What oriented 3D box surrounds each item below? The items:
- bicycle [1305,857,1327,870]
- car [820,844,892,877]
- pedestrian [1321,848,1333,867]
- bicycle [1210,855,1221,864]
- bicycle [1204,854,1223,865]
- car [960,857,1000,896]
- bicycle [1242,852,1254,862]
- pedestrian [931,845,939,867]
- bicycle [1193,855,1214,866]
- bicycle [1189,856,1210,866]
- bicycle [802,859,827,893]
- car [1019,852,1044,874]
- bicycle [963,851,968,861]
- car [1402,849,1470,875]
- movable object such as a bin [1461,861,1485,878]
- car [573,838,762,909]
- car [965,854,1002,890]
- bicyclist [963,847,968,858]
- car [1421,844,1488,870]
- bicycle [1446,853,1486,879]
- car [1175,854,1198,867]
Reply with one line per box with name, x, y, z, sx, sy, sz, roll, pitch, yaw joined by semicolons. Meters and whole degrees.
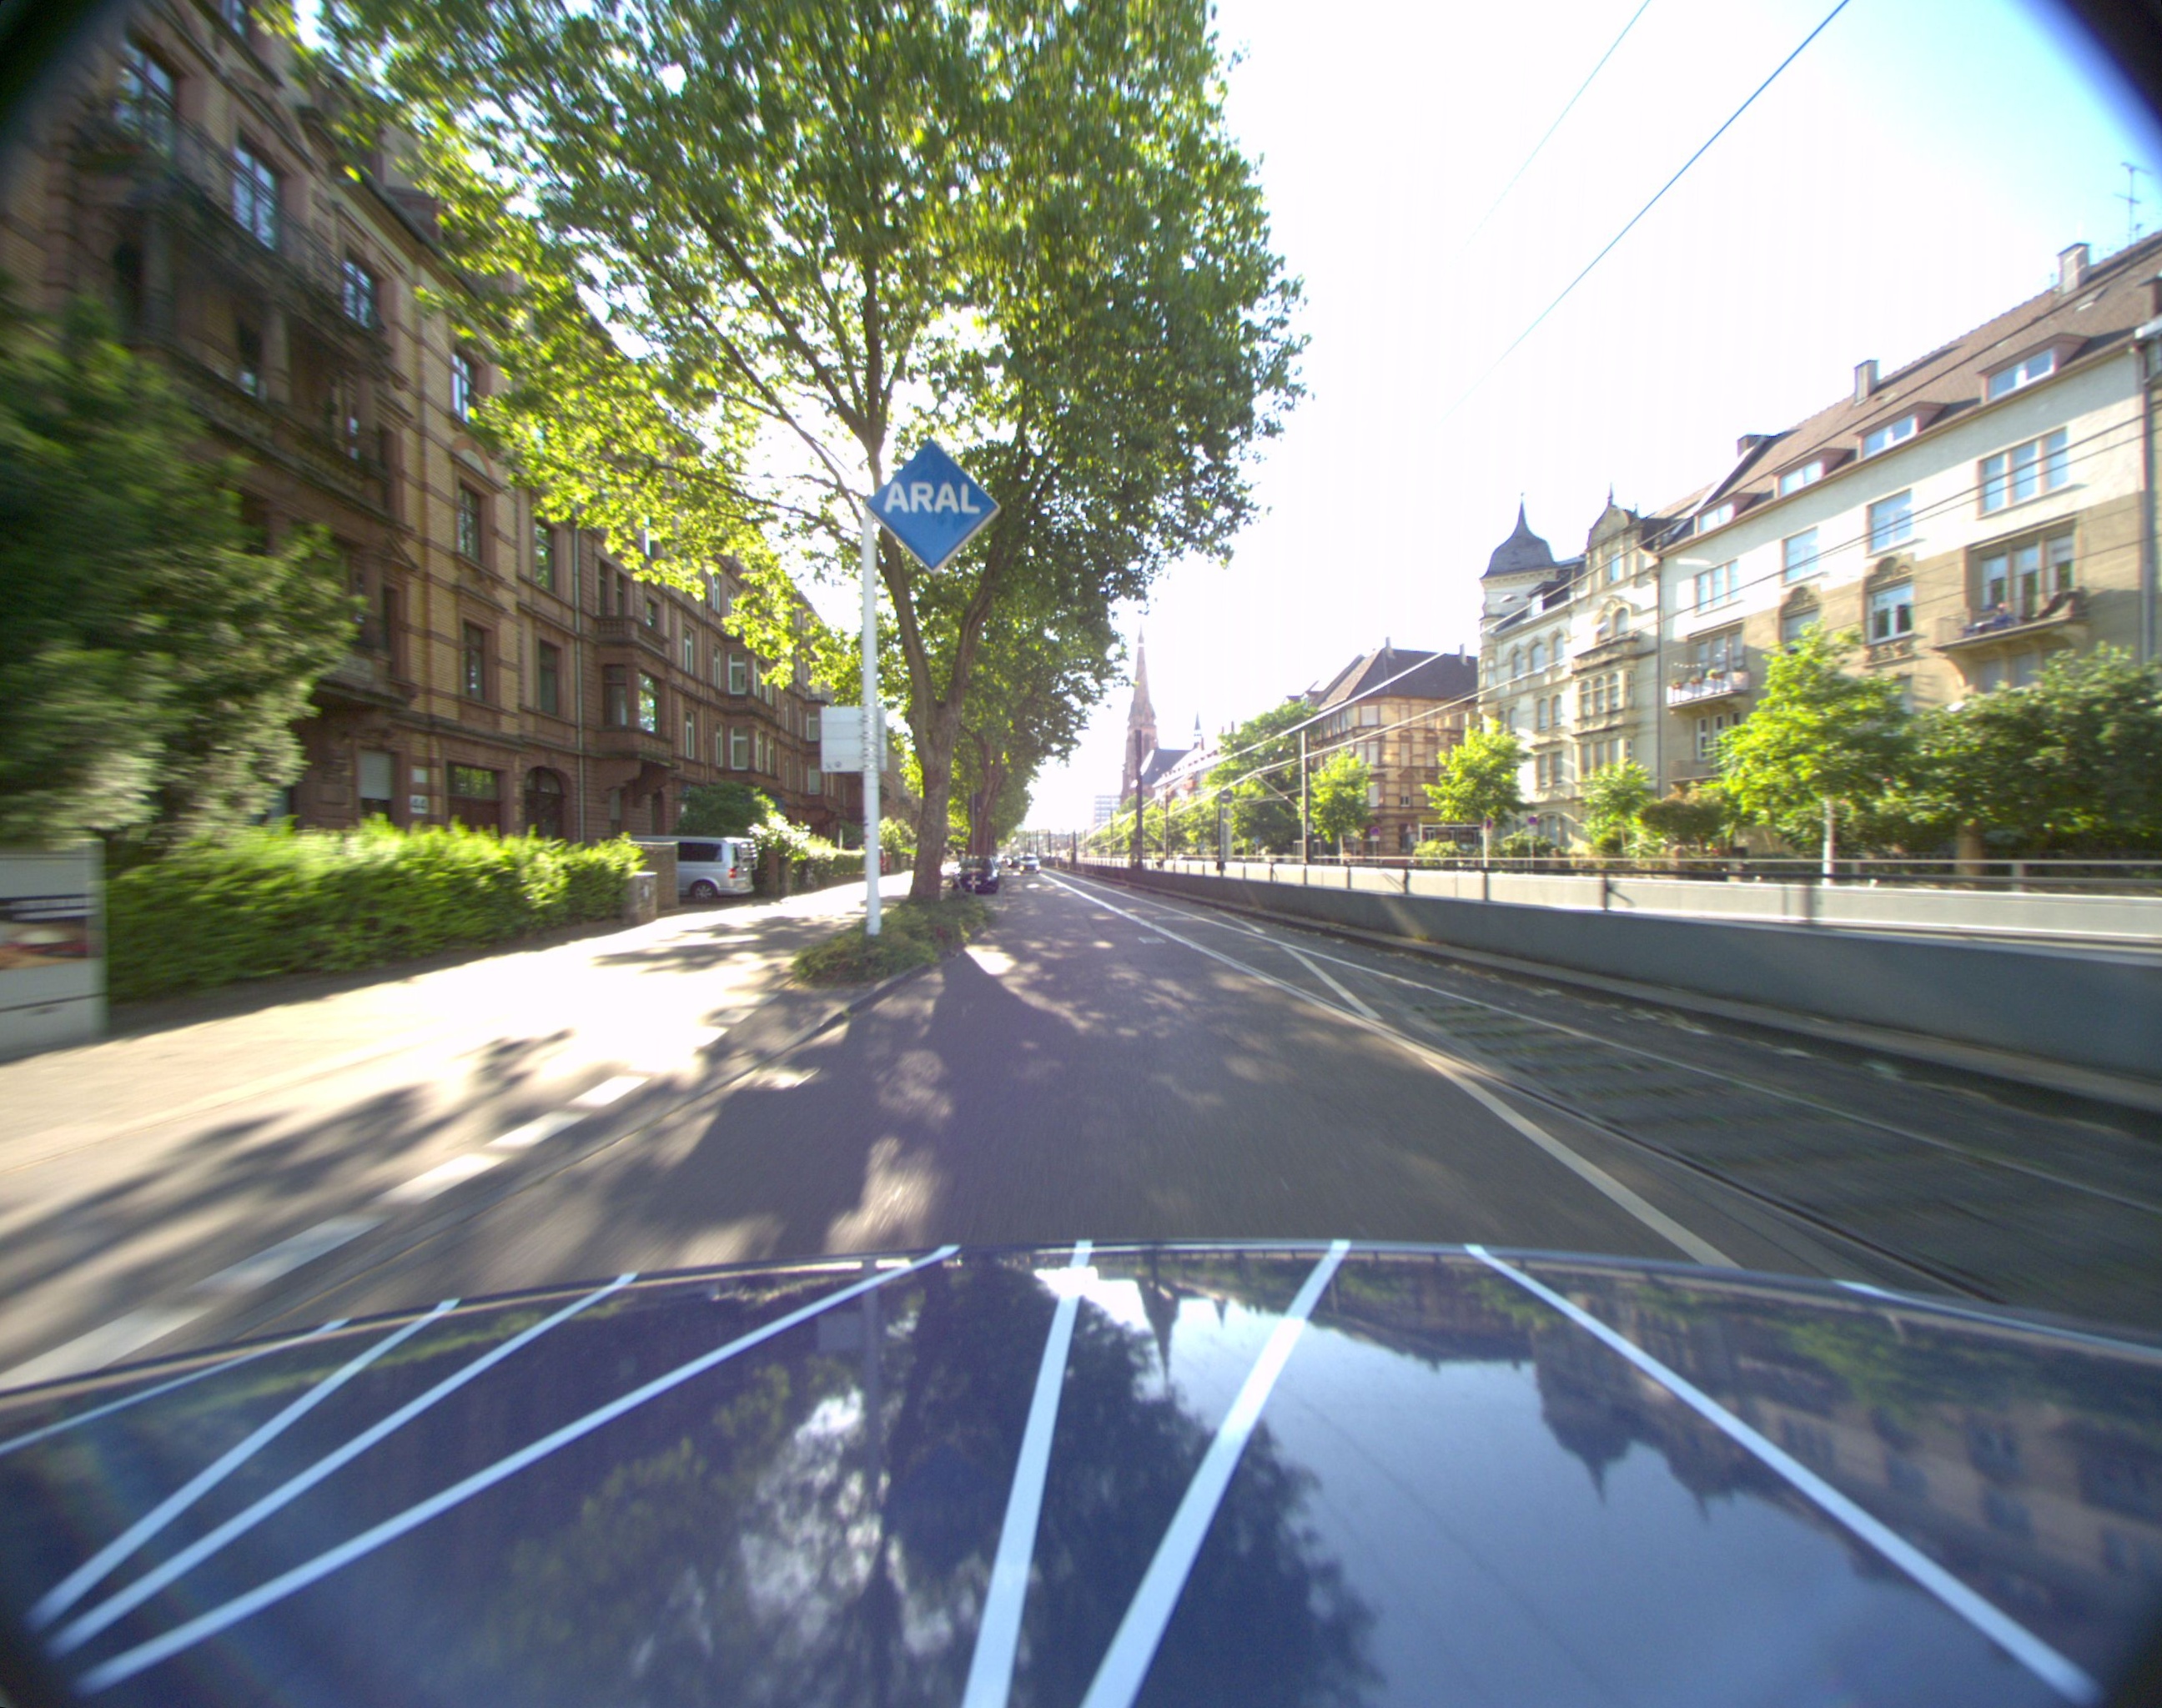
bicycle;20.411;0.824;66.039;0.456;1.000;1.938;-4;4;-37
car;-14.650;0.406;49.571;4.189;2.002;1.998;2;0;-8
pedestrian;22.741;0.347;70.160;0.721;1.679;0.864;-3;1;0
bicycle;15.140;0.620;85.497;1.271;0.900;0.538;-4;1;-36
bicycle;14.977;0.590;86.097;2.379;1.092;0.556;-4;1;-36
car;-4.169;0.873;31.609;1.556;1.490;4.047;0;0;-6
bicycle;18.561;0.323;84.378;0.557;1.092;2.374;-3;0;-6
pedestrian;-13.472;0.154;69.967;0.675;2.002;0.633;-1;1;-6
bicycle;14.554;0.787;89.981;2.791;1.092;0.641;-4;1;-38
bicycle;14.093;0.811;90.499;2.791;1.092;0.641;-4;1;-38
bicycle;-10.281;0.831;29.374;0.338;1.242;1.766;-3;1;-2
car;-4.120;0.774;63.616;1.823;1.728;4.000;2;0;-1
bicycle;-14.112;0.246;92.887;0.562;1.171;2.224;-3;1;-8
car;24.588;0.561;52.677;4.002;1.615;1.823;-2;0;-15
movable object such as a bin;22.959;0.887;44.501;0.900;0.914;0.783;-4;1;-11
car;-12.254;0.580;22.784;4.587;2.002;1.913;1;0;-6
car;-4.582;0.808;35.845;1.621;1.578;4.414;0;0;-7
bicyclist;-14.137;-0.180;92.935;0.544;1.372;0.644;-4;0;-8
car;28.817;0.267;58.743;2.001;1.838;4.474;-4;0;-18
bicycle;19.820;0.620;39.124;1.735;1.272;0.599;-1;1;0
car;13.548;0.785;98.214;1.838;1.576;3.997;-3;0;-8
